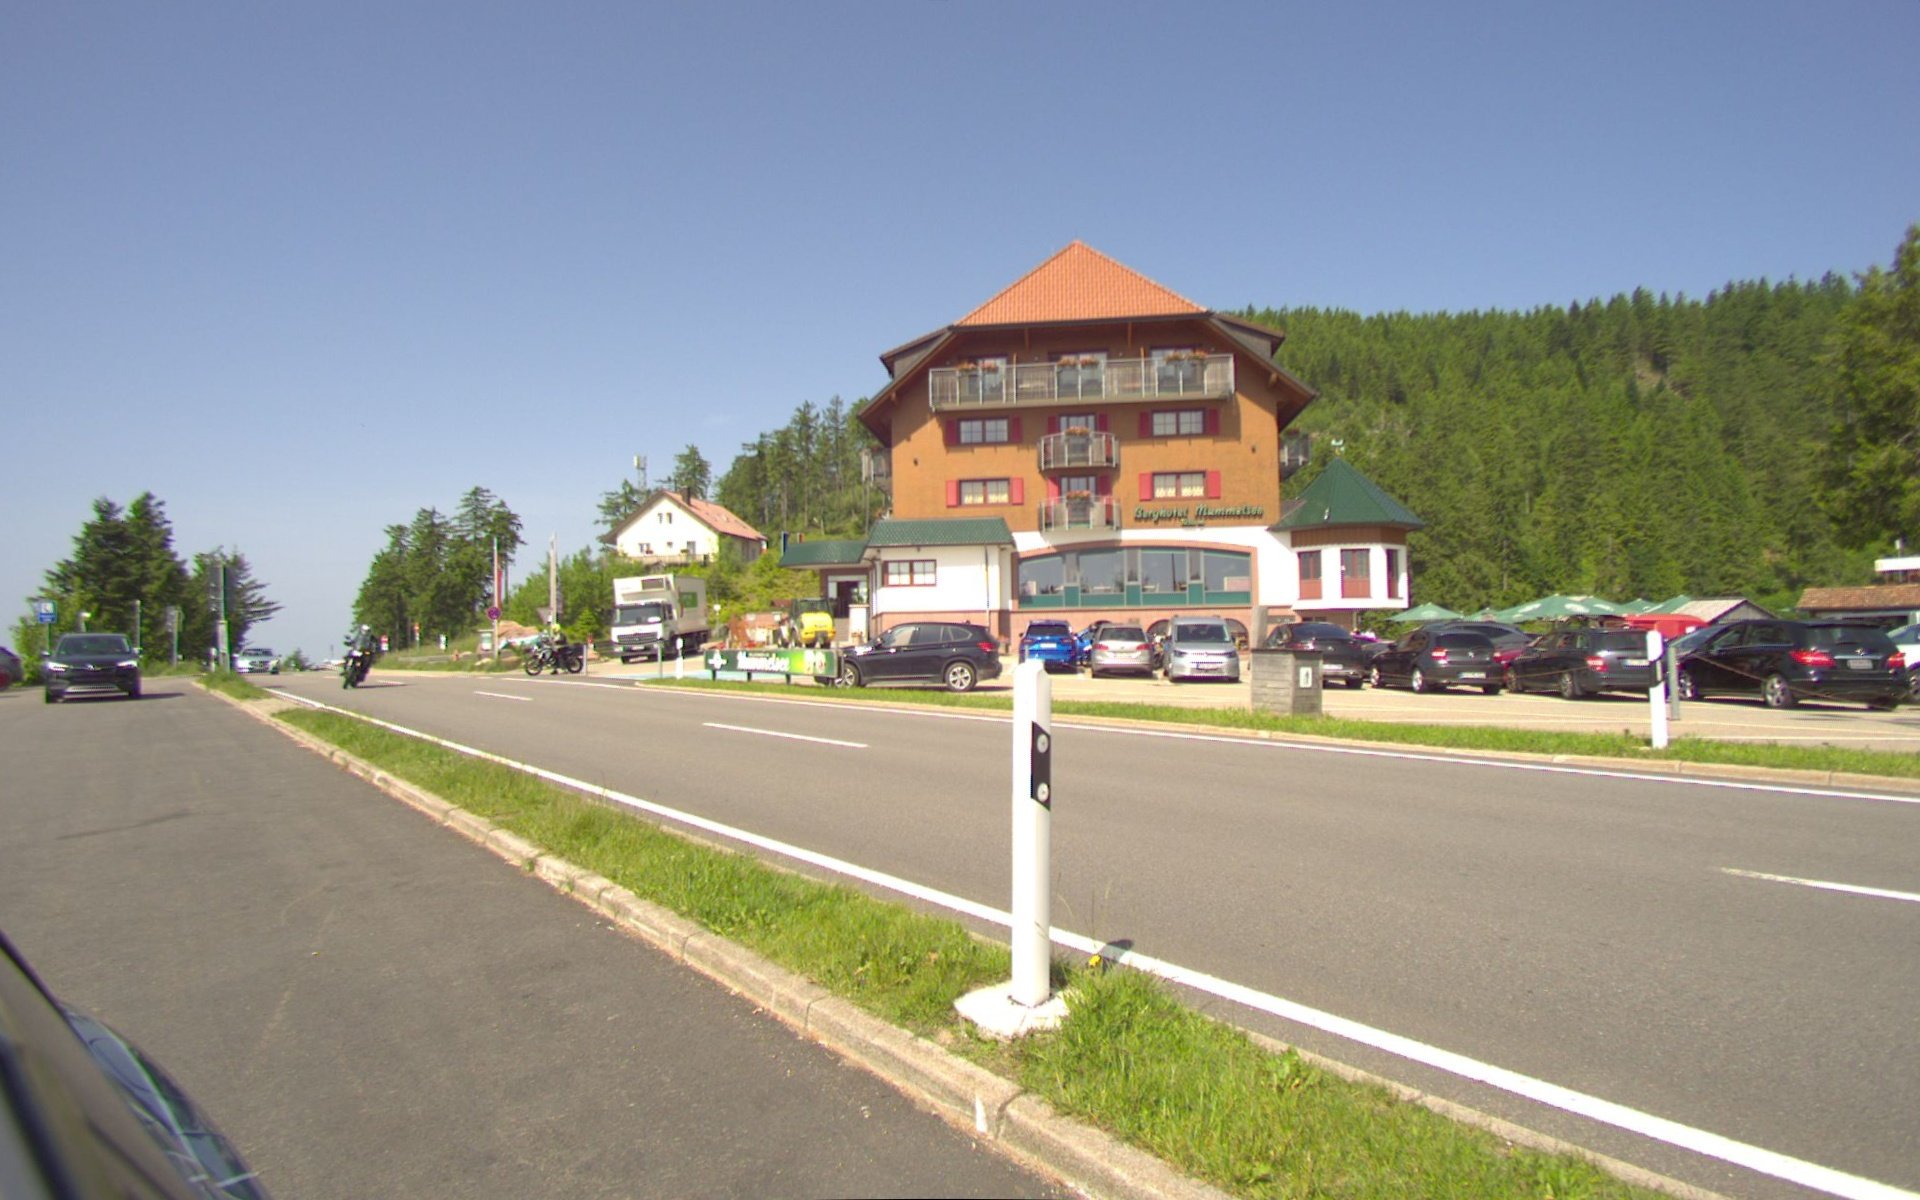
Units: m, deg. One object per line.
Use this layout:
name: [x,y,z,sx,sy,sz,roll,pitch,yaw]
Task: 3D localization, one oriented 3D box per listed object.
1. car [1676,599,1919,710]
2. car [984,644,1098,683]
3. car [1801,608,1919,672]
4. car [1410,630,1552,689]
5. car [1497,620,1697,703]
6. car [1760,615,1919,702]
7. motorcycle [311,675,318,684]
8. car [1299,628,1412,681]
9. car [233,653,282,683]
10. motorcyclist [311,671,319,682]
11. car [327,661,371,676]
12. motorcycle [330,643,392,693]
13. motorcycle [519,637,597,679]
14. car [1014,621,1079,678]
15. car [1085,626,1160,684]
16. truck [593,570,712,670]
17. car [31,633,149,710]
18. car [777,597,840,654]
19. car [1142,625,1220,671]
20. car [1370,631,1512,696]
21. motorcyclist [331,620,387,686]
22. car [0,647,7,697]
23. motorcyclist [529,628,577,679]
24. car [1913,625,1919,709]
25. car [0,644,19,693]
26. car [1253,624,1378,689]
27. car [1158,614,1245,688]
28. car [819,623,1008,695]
car: [14.691,0.946,17.803,1.806,1.717,3.986,-1,-3,10]
car: [2.911,2.266,36.294,3.952,1.307,1.709,-1,-3,8]
car: [24.285,1.047,26.164,1.885,1.542,3.877,-1,-3,3]
car: [14.092,1.613,27.667,1.910,1.494,3.996,-1,-3,3]
car: [12.723,1.226,20.551,1.695,1.497,4.072,-1,-3,5]
car: [18.280,1.130,19.883,1.974,1.564,3.996,-1,-3,3]
motorcycle: [-96.365,11.883,151.143,0.800,1.275,2.334,1,-4,-30]
car: [11.758,1.625,30.381,1.910,1.494,3.996,-1,-3,3]
car: [-36.796,3.547,52.973,1.754,1.468,4.007,2,-4,-40]
motorcyclist: [-96.342,11.431,151.143,0.866,1.654,1.303,1,-4,-30]
car: [-79.808,8.946,132.268,4.655,1.896,1.936,4,-6,-36]
motorcycle: [-16.159,1.807,27.361,0.864,1.266,2.283,1,-2,-15]
motorcycle: [-14.391,2.059,36.315,1.005,1.417,2.412,-2,-2,40]
car: [2.765,1.544,32.461,1.915,1.676,4.538,-1,-2,5]
car: [4.696,1.602,29.769,1.976,1.557,3.991,-1,-3,7]
truck: [-13.955,0.877,46.814,3.025,4.002,8.776,-3,0,-3]
car: [-20.603,1.647,24.128,1.954,1.629,4.157,0,-3,-38]
car: [-7.107,1.235,47.158,1.965,2.515,4.013,0,-3,-23]
car: [7.484,1.649,34.645,1.910,1.494,3.996,-1,-3,3]
car: [10.731,1.410,22.839,1.567,1.331,3.635,-1,-3,3]
motorcyclist: [-16.202,1.408,27.331,0.910,1.731,1.456,1,-2,-15]
car: [-31.240,2.271,30.198,1.841,1.521,3.945,-4,-3,41]
motorcyclist: [-14.557,1.899,36.190,1.064,1.733,1.231,-2,-2,40]
car: [16.498,0.982,14.636,1.790,1.381,3.993,-1,-3,5]
car: [-32.930,2.324,32.151,1.908,1.580,4.347,-4,-2,44]
car: [8.607,1.382,24.882,1.890,1.441,3.994,-1,-3,5]
car: [6.580,1.411,28.011,1.814,1.878,4.519,-1,-3,8]
car: [-1.021,1.365,23.377,4.140,1.552,1.804,-1,-3,6]
